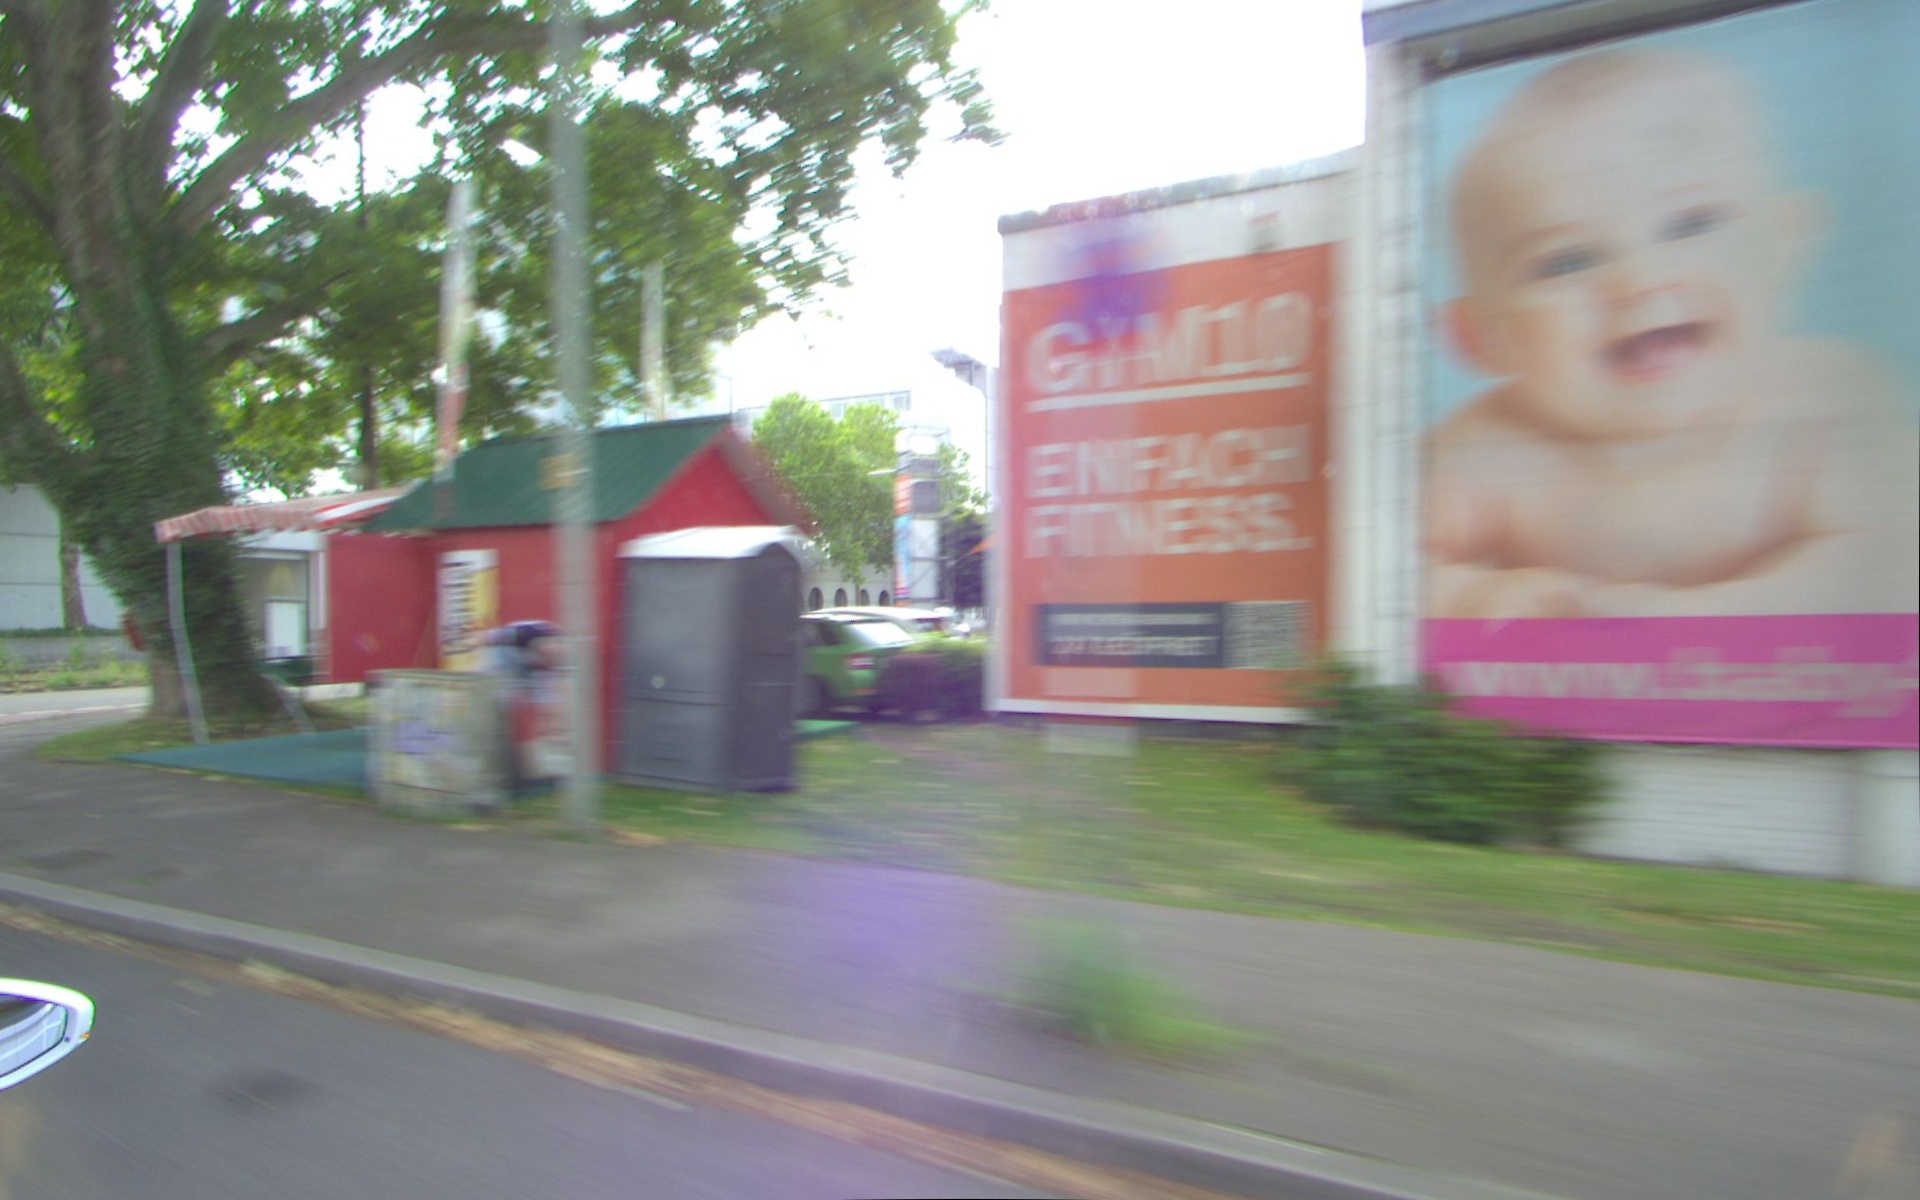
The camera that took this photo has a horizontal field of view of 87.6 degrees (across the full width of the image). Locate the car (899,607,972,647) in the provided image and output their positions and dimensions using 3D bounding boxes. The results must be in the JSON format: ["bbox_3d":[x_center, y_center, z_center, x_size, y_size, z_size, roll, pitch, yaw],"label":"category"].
[{"bbox_3d":[-1.029,1.176,44.632,1.643,1.708,3.923,0,-1,26],"label":"car"}]

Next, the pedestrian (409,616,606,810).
[{"bbox_3d":[-3.395,0.787,7.551,0.951,1.331,1.012,0,-1,33],"label":"pedestrian"}]

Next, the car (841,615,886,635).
[{"bbox_3d":[-7.242,1.881,75.346,1.643,1.448,3.887,0,-1,26],"label":"car"}]

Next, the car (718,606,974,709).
[{"bbox_3d":[-1.876,0.908,16.882,3.926,1.589,1.743,0,0,16],"label":"car"}]

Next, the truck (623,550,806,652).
[{"bbox_3d":[-10.368,0.116,43.750,2.752,3.947,9.521,0,-1,22],"label":"truck"}]

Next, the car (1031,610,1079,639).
[{"bbox_3d":[5.782,1.443,60.480,1.643,1.708,3.887,0,-1,26],"label":"car"}]

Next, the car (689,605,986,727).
[{"bbox_3d":[-1.777,0.846,14.250,3.938,1.532,1.738,0,-1,29],"label":"car"}]
